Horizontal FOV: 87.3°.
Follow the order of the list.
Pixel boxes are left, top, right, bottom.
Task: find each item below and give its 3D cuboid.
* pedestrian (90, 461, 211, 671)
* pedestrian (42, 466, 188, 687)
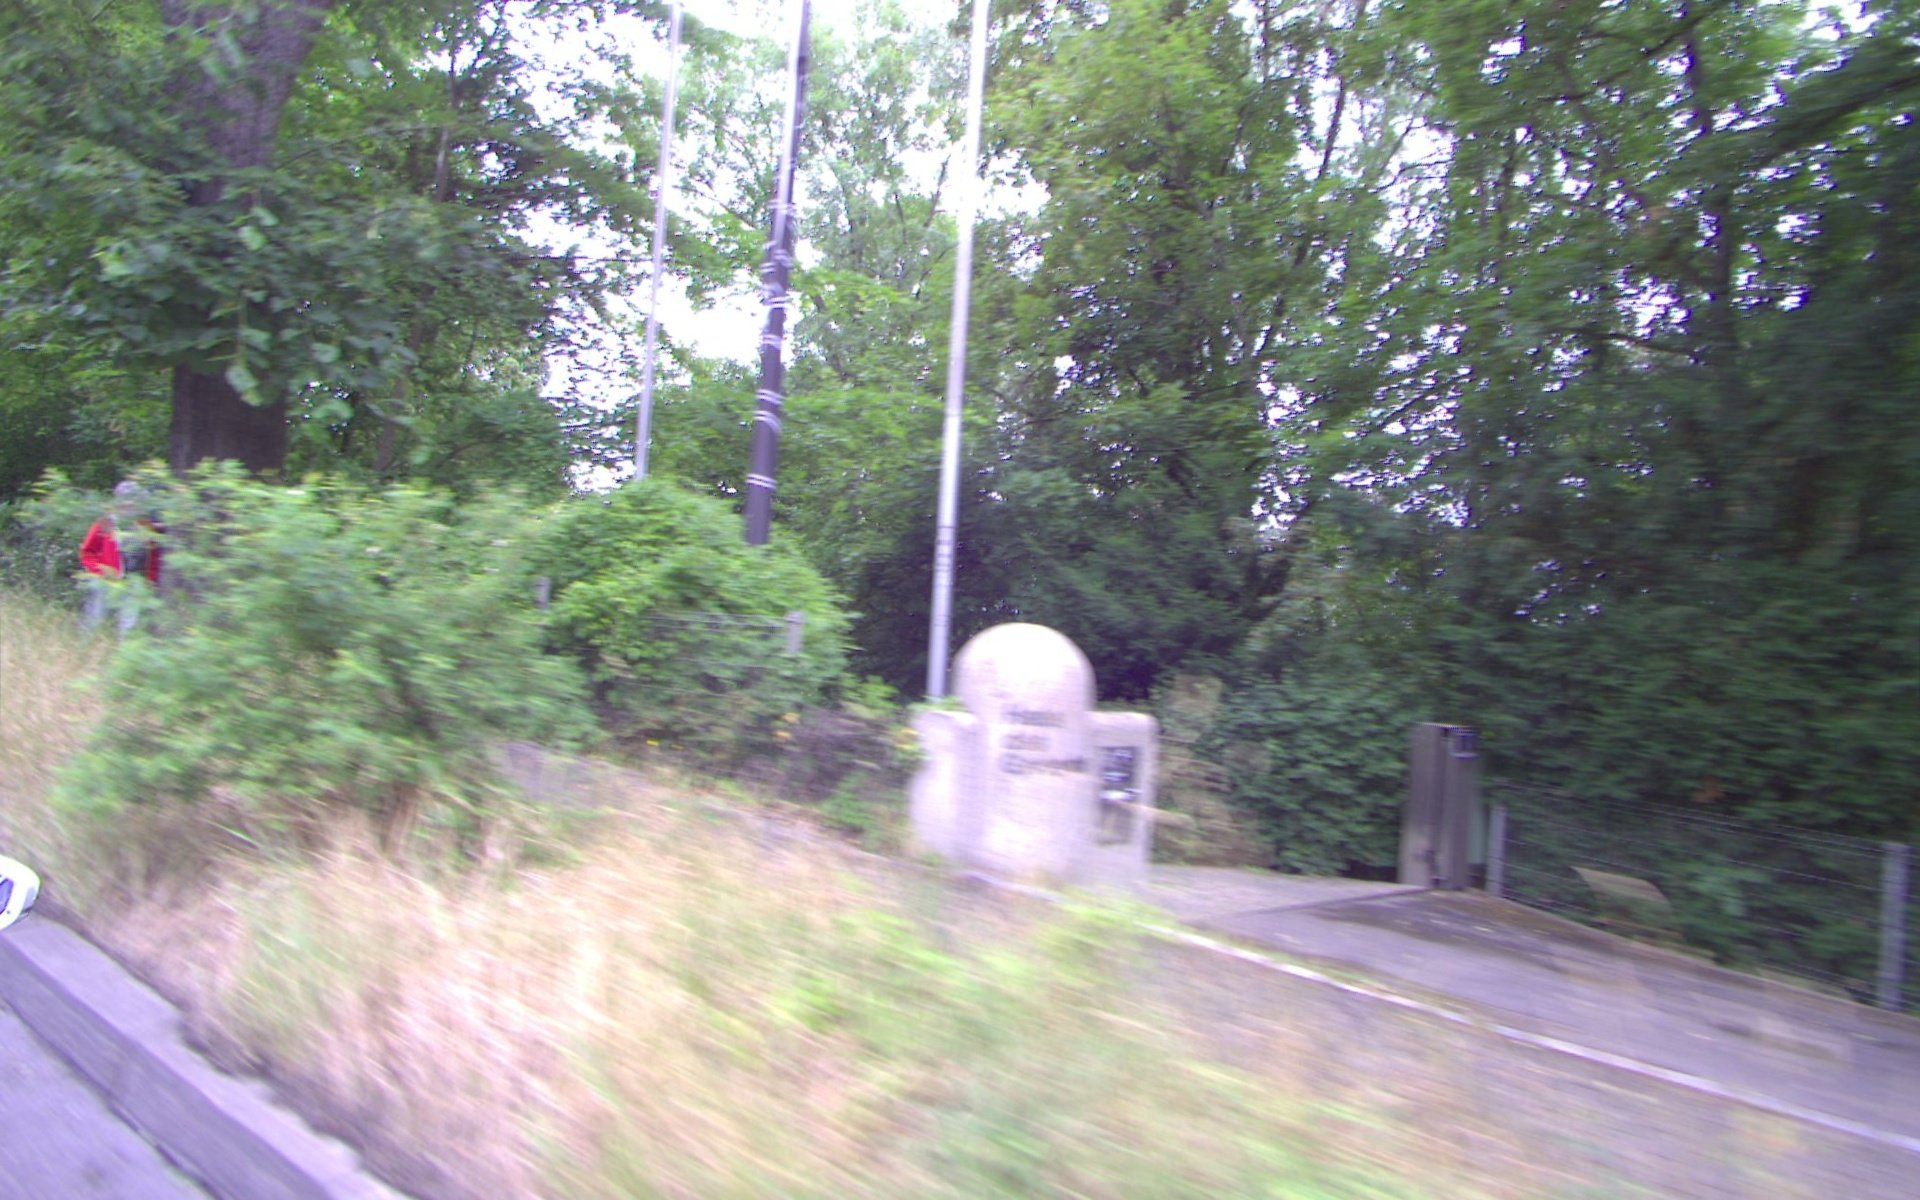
[{"bbox_3d":[-7.183,-0.291,8.938,0.516,1.774,0.520,6,-1,28],"label":"pedestrian"},{"bbox_3d":[-6.937,-0.176,8.272,0.539,1.718,0.610,6,-1,29],"label":"pedestrian"}]
